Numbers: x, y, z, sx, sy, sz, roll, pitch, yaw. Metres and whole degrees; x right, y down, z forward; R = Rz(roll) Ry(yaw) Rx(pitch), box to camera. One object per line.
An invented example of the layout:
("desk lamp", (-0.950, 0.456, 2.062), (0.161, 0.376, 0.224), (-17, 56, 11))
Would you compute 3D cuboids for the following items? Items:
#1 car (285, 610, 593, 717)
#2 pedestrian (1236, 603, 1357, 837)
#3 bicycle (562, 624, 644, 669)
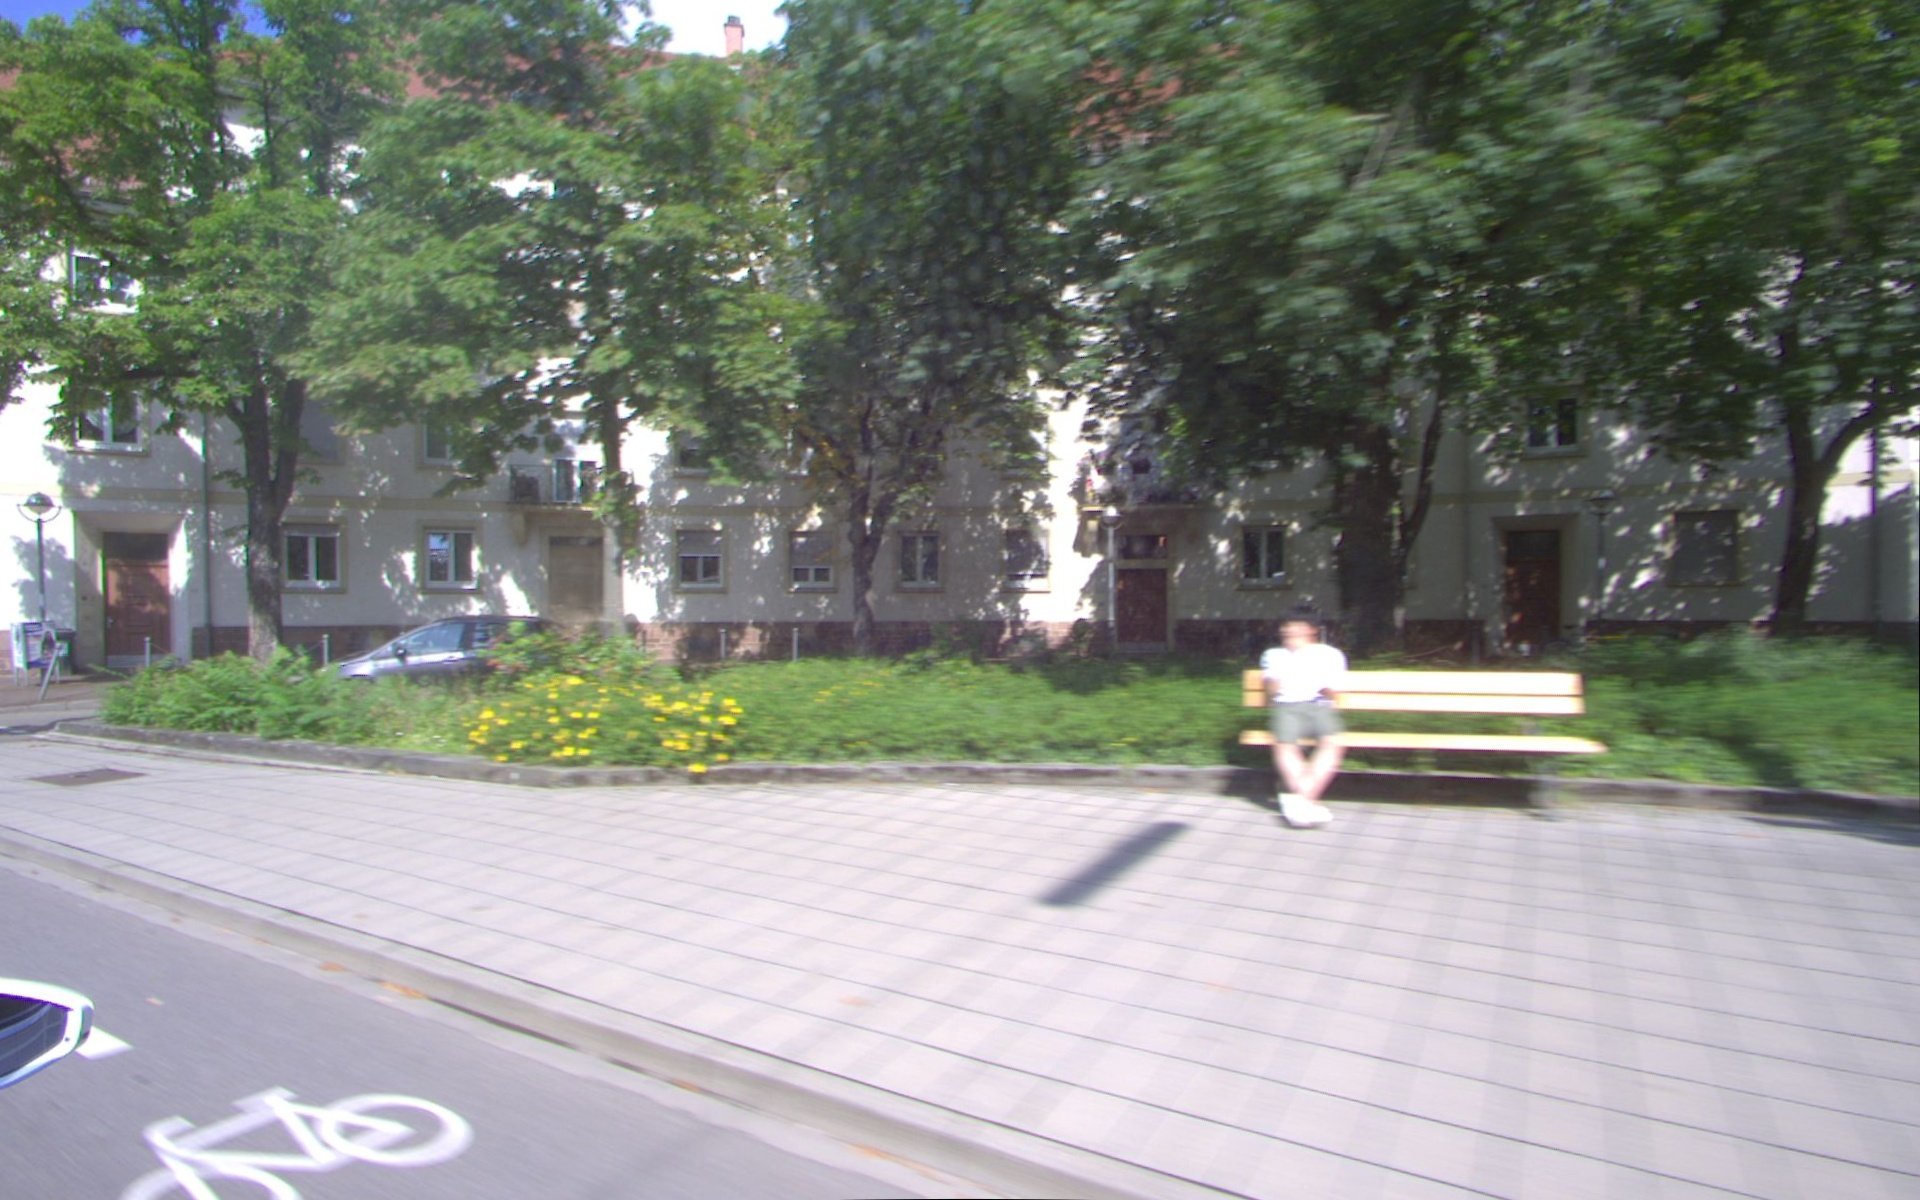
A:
("car", (-8.178, 0.959, 16.151), (4.097, 1.530, 1.848), (0, 1, -16))
("pedestrian", (2.137, 0.682, 6.282), (0.549, 1.286, 1.191), (0, 2, 27))
("bicycle", (-8.413, 1.090, 23.628), (1.719, 1.034, 0.566), (0, 2, -5))
